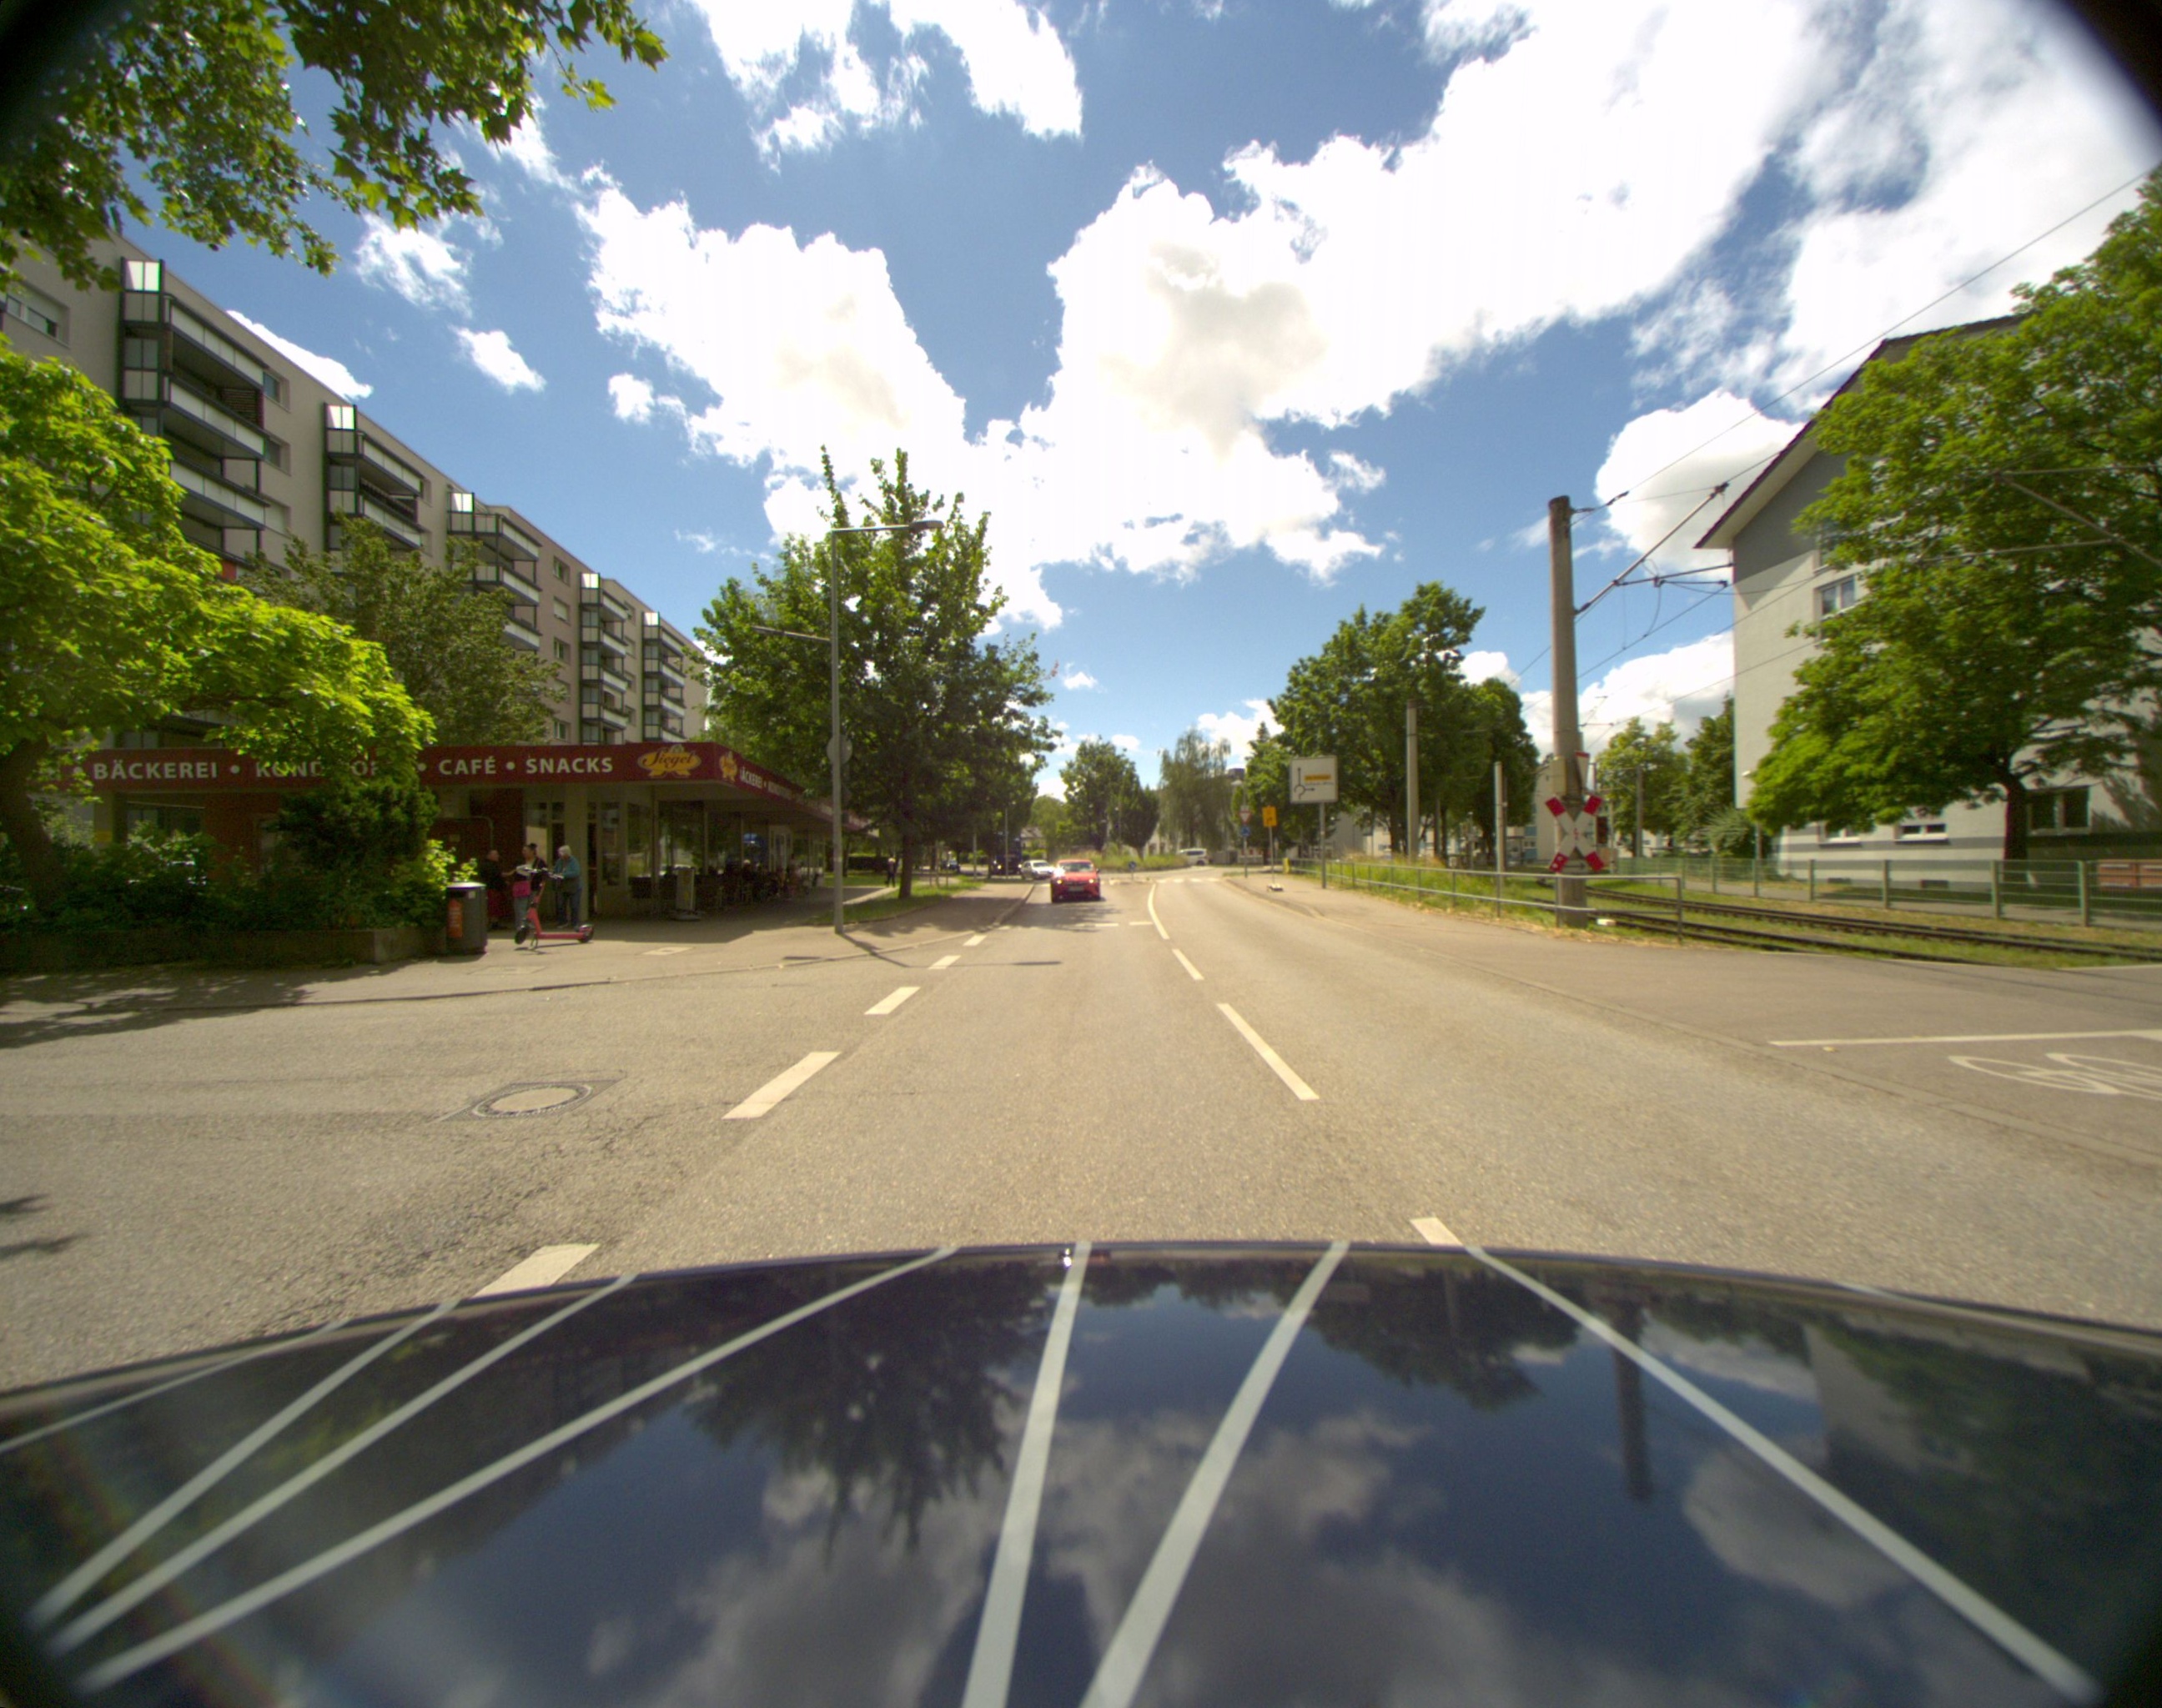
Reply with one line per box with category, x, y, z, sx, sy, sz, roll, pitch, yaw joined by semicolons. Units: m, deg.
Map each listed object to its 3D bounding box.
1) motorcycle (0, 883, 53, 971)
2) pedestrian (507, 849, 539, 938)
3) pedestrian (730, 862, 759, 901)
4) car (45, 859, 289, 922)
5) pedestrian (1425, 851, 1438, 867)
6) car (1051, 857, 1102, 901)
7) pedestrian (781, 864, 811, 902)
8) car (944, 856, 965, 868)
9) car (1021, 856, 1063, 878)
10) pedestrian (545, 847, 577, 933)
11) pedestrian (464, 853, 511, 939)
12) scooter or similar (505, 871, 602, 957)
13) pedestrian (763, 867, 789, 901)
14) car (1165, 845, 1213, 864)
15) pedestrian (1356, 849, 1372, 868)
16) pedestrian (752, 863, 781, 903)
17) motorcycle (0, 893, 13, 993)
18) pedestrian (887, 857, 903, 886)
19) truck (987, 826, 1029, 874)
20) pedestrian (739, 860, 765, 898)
motorcycle;-16.142;1.055;11.259;0.741;1.188;2.132;-1;0;-45
pedestrian;-10.492;0.728;14.283;0.444;1.623;0.399;-1;1;-40
pedestrian;-11.072;0.902;24.985;0.677;1.259;0.674;1;1;-6
car;-21.502;0.790;18.117;1.749;1.334;3.488;-1;0;-6
pedestrian;37.191;0.562;80.654;1.022;1.655;0.875;0;1;-5
car;-0.164;0.874;28.051;1.712;1.439;3.670;-2;0;0
pedestrian;-9.624;0.973;25.685;0.677;1.259;0.674;2;1;5
car;-15.432;0.988;92.363;1.811;1.346;3.993;-1;0;-19
car;-2.851;0.892;54.477;1.764;1.514;3.817;-1;0;-24
pedestrian;-9.990;0.683;14.607;0.444;1.623;0.399;-1;1;-40
pedestrian;-10.968;0.759;14.045;0.510;1.542;0.534;0;1;32
scooter or similar;-8.611;0.946;12.451;0.376;1.300;1.234;0;1;33
pedestrian;-10.589;1.036;26.360;0.674;1.145;0.677;1;1;-8
car;10.602;0.063;74.495;4.611;1.786;2.002;0;0;10
pedestrian;24.898;0.425;66.900;0.876;1.655;1.021;-1;1;-10
pedestrian;-10.340;0.953;24.979;0.674;1.259;0.825;1;1;-8
motorcycle;-14.032;1.069;9.009;2.135;1.188;0.740;0;0;10
pedestrian;-9.961;0.953;40.720;0.726;1.529;0.654;0;1;-3
truck;-6.830;-0.332;69.612;2.632;4.069;9.597;-1;0;-13
pedestrian;-11.355;0.860;26.236;0.674;1.259;0.677;1;1;-8
